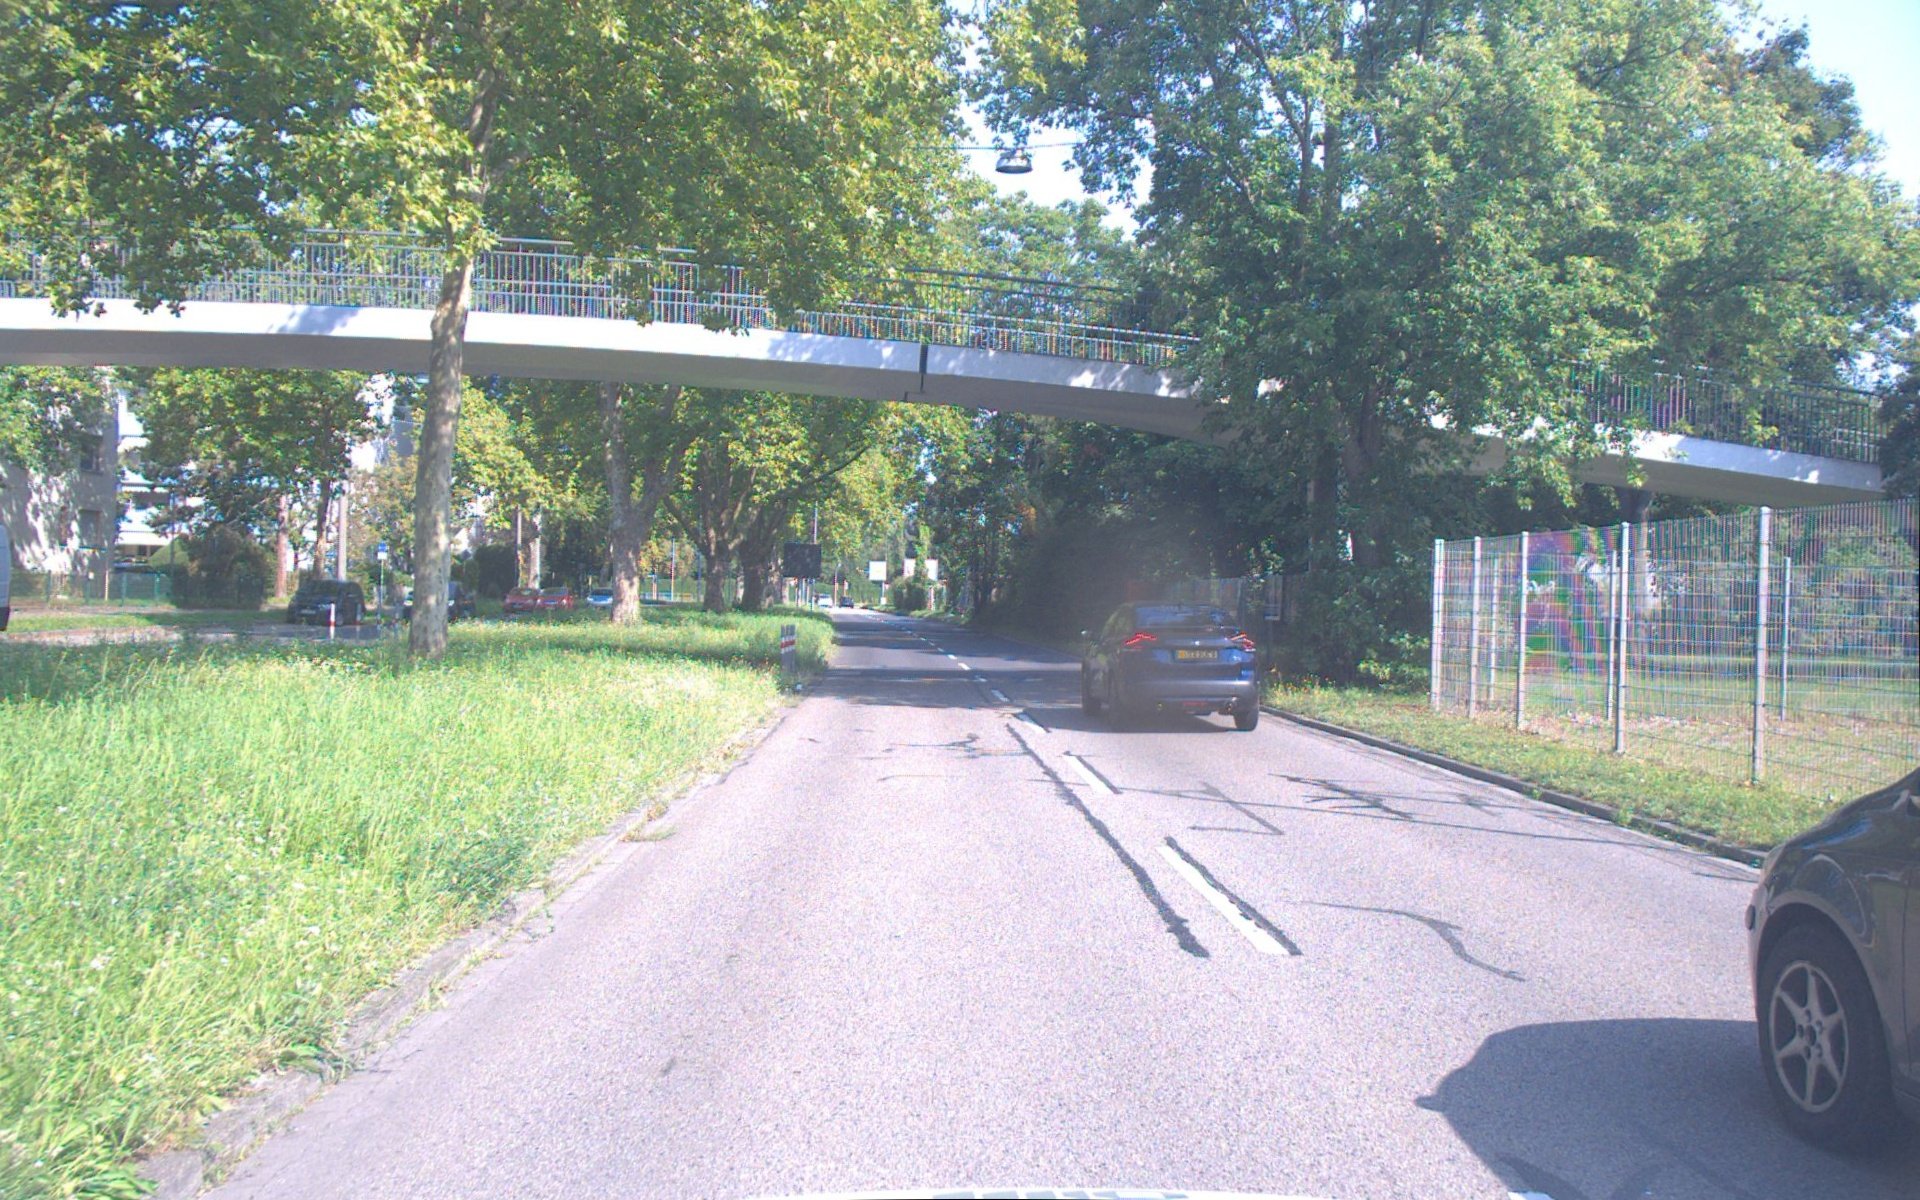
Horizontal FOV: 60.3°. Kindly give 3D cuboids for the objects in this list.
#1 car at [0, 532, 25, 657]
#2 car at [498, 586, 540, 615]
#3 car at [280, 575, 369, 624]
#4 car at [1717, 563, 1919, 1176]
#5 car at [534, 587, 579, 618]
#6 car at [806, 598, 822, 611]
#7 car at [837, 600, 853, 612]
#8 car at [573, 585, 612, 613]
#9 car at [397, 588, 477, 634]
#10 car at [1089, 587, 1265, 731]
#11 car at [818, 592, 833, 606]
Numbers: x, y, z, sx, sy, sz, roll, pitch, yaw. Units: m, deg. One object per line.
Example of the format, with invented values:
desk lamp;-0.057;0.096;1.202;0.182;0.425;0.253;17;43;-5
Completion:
car;-19.883;-0.157;30.277;2.164;2.472;6.261;2;0;-3
car;-24.554;0.036;92.216;1.508;1.477;4.060;2;0;-4
car;-21.584;-0.013;56.311;1.491;1.560;3.864;1;0;1
car;3.345;0.718;3.425;1.612;1.584;3.897;2;0;-2
car;-21.120;0.118;86.642;1.658;1.559;4.065;1;0;-5
car;-18.284;0.554;207.296;1.653;1.487;3.848;2;0;-2
car;-14.135;0.728;203.507;1.763;1.425;3.994;2;0;-7
car;-23.428;-0.064;105.541;1.766;1.750;4.716;1;0;-4
car;-19.101;0.395;60.580;1.752;1.560;4.452;2;0;-4
car;2.637;0.687;20.945;1.611;1.616;4.254;1;0;-1
car;-15.570;-0.102;191.988;1.654;1.487;3.996;2;0;-5
